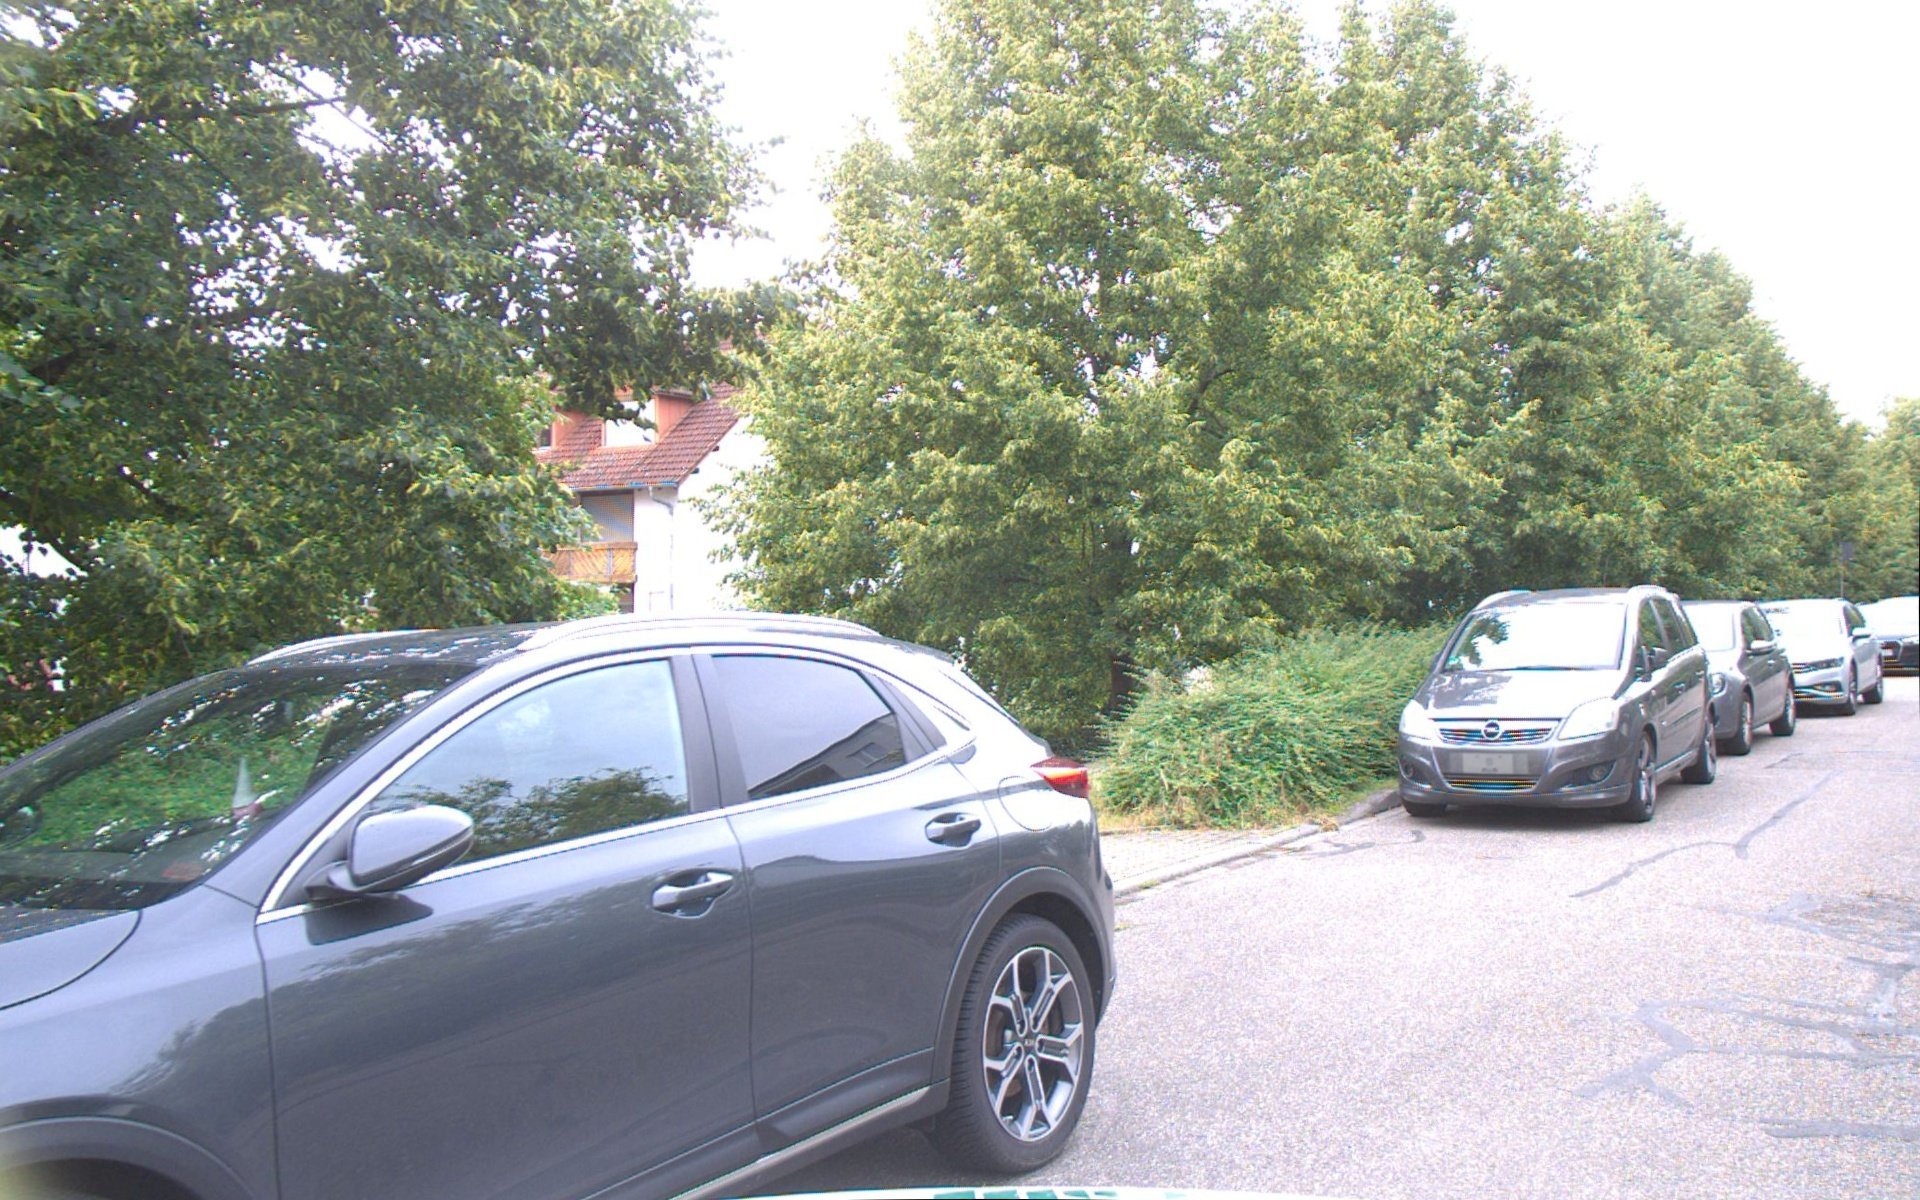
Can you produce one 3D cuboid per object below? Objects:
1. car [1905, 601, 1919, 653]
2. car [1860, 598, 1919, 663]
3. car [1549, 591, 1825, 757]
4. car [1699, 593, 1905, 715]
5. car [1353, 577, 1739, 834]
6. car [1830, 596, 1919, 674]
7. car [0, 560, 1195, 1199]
[{"bbox_3d":[29.074,0.749,48.752,1.722,1.450,3.986,-3,-1,35],"label":"car"},{"bbox_3d":[22.599,0.684,39.230,1.722,1.450,3.986,-3,-1,35],"label":"car"},{"bbox_3d":[7.761,0.706,17.427,1.728,1.504,4.289,-3,-1,36],"label":"car"},{"bbox_3d":[11.445,0.678,22.332,1.746,1.453,4.461,-3,-1,36],"label":"car"},{"bbox_3d":[4.715,0.692,12.844,1.726,1.621,4.539,-3,-1,33],"label":"car"},{"bbox_3d":[18.813,0.659,33.356,1.722,1.450,3.986,-3,-1,35],"label":"car"},{"bbox_3d":[-1.231,0.752,3.716,1.712,1.558,4.180,-3,-1,36],"label":"car"}]
